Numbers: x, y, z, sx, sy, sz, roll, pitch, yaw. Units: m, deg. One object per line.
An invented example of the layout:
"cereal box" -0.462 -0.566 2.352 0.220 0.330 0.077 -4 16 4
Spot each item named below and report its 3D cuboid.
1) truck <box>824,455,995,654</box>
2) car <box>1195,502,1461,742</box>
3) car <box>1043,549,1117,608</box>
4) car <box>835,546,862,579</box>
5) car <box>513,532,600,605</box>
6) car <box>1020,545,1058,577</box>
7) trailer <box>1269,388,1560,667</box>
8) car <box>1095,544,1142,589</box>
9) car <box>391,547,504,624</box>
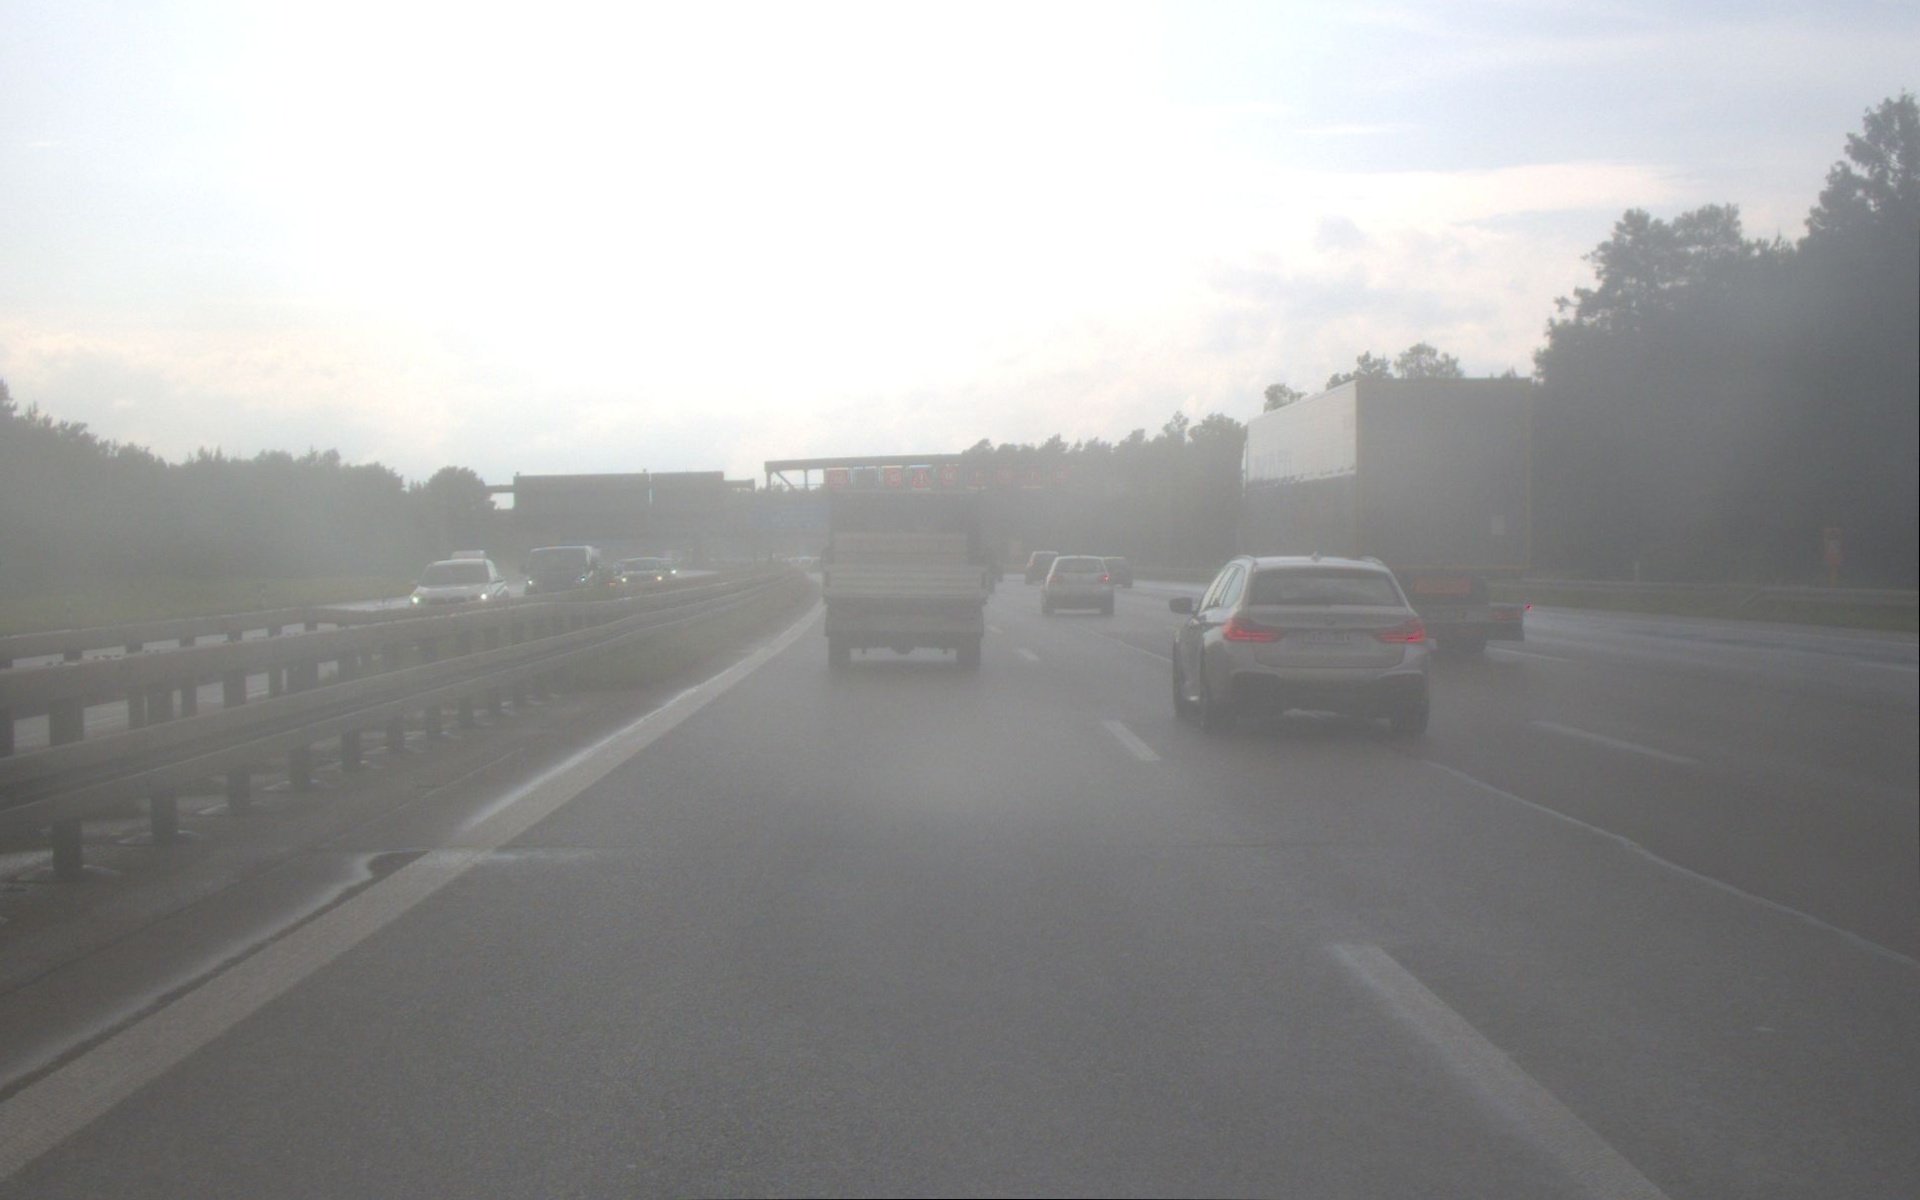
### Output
"truck" -0.643 -0.618 45.638 2.137 2.480 5.313 0 1 0
"car" 3.107 0.133 29.766 2.078 1.878 5.010 1 1 4
"car" 3.042 -0.566 87.406 1.831 1.461 4.000 0 1 2
"car" -7.017 -2.396 216.027 1.617 2.007 4.001 1 1 -3
"car" -11.485 -0.900 98.102 1.993 2.007 4.627 -1 1 -1
"car" 4.203 -2.062 183.035 1.740 1.683 4.001 0 1 -3
"trailer" 7.082 -1.135 55.748 2.323 3.988 13.414 0 1 -3
"car" 7.368 -1.574 159.886 1.993 2.007 4.000 1 1 1
"car" -11.133 -0.342 74.922 1.859 1.583 4.491 -1 1 -1
